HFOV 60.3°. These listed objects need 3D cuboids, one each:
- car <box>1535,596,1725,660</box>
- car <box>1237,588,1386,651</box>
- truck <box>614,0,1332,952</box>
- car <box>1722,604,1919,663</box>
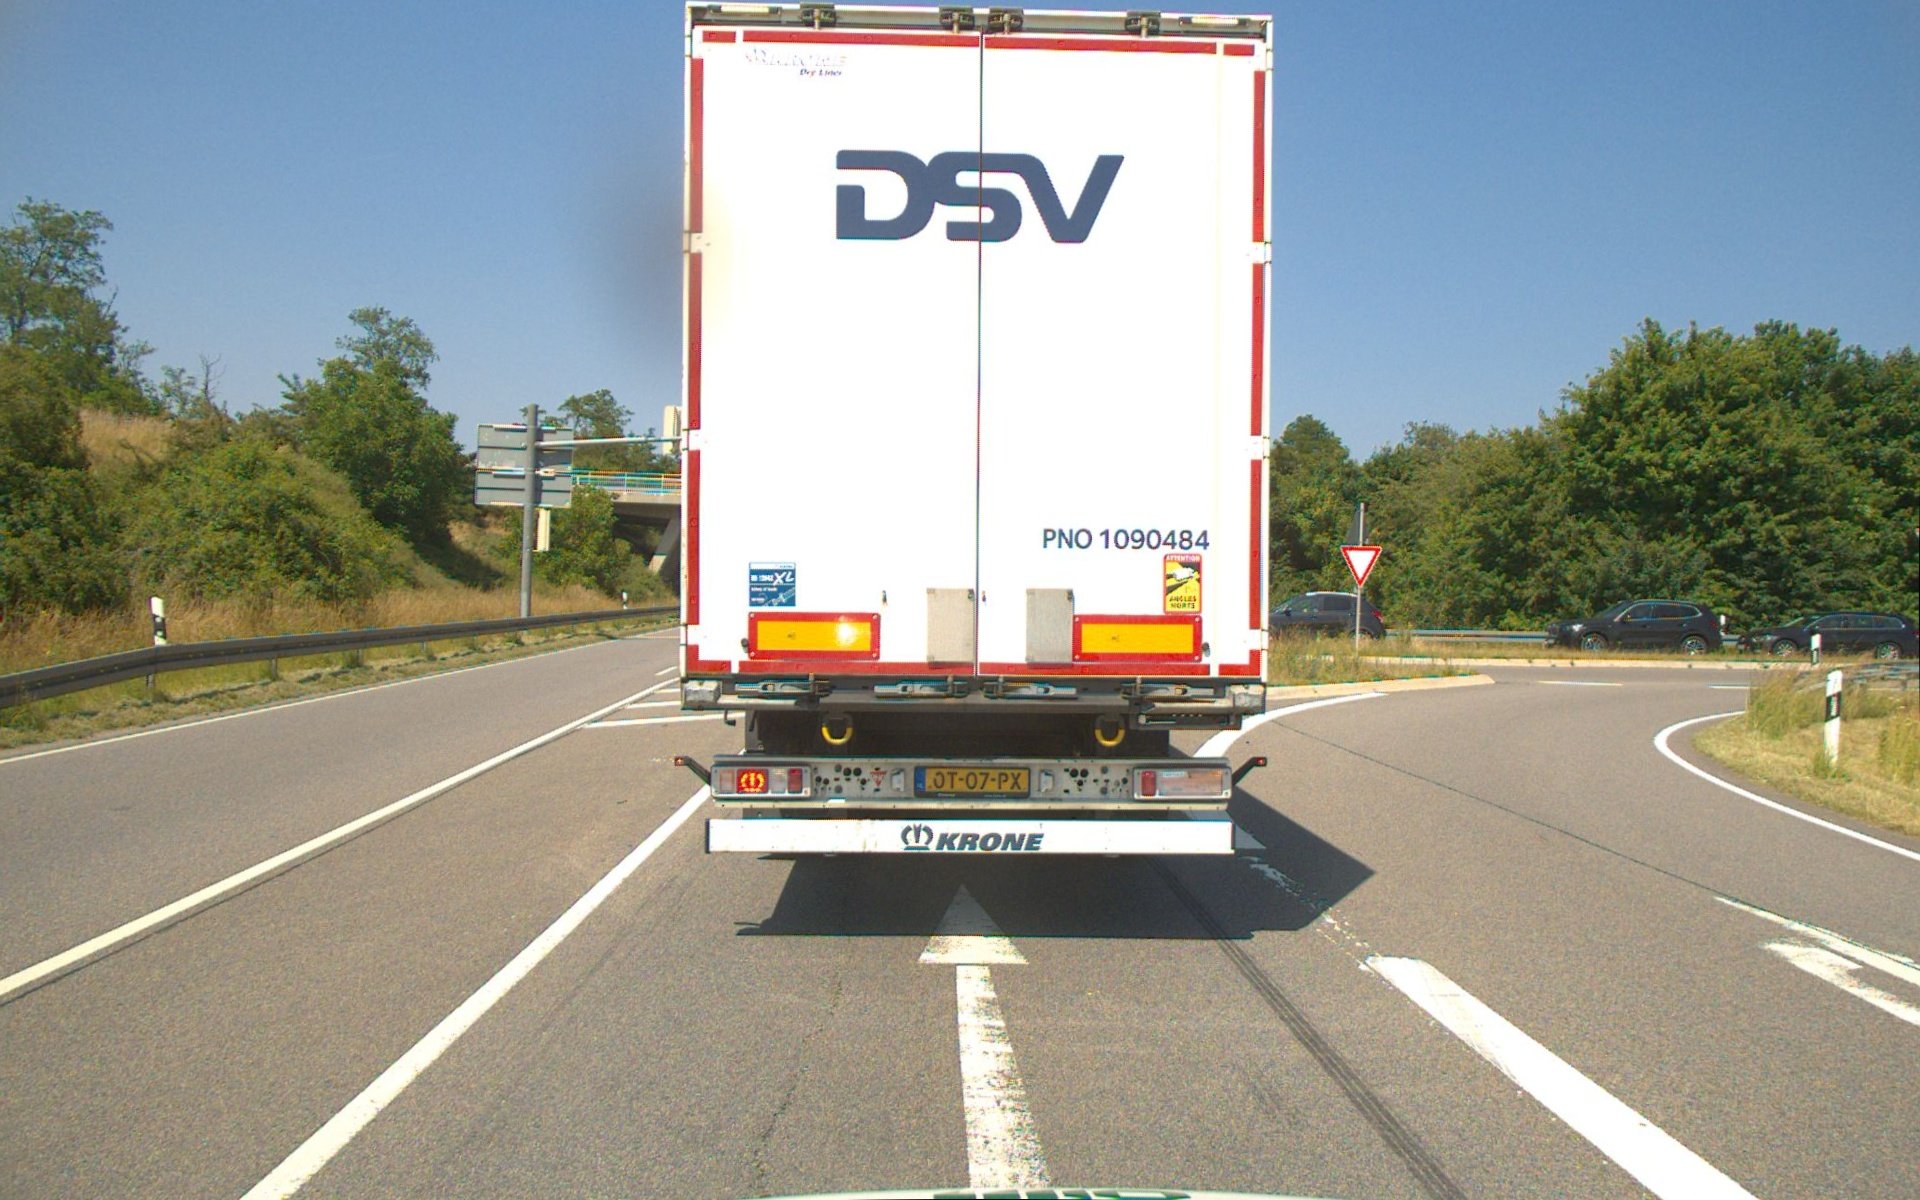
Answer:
[{"bbox_3d":[17.931,0.737,44.384,4.393,1.626,1.768,1,-1,2],"label":"car"},{"bbox_3d":[9.841,0.545,46.525,3.901,1.669,1.842,1,-1,5],"label":"car"},{"bbox_3d":[-0.052,-0.560,11.768,2.927,4.011,9.872,1,0,-1],"label":"truck"},{"bbox_3d":[23.828,0.905,45.793,4.583,1.540,1.854,1,-1,6],"label":"car"}]
